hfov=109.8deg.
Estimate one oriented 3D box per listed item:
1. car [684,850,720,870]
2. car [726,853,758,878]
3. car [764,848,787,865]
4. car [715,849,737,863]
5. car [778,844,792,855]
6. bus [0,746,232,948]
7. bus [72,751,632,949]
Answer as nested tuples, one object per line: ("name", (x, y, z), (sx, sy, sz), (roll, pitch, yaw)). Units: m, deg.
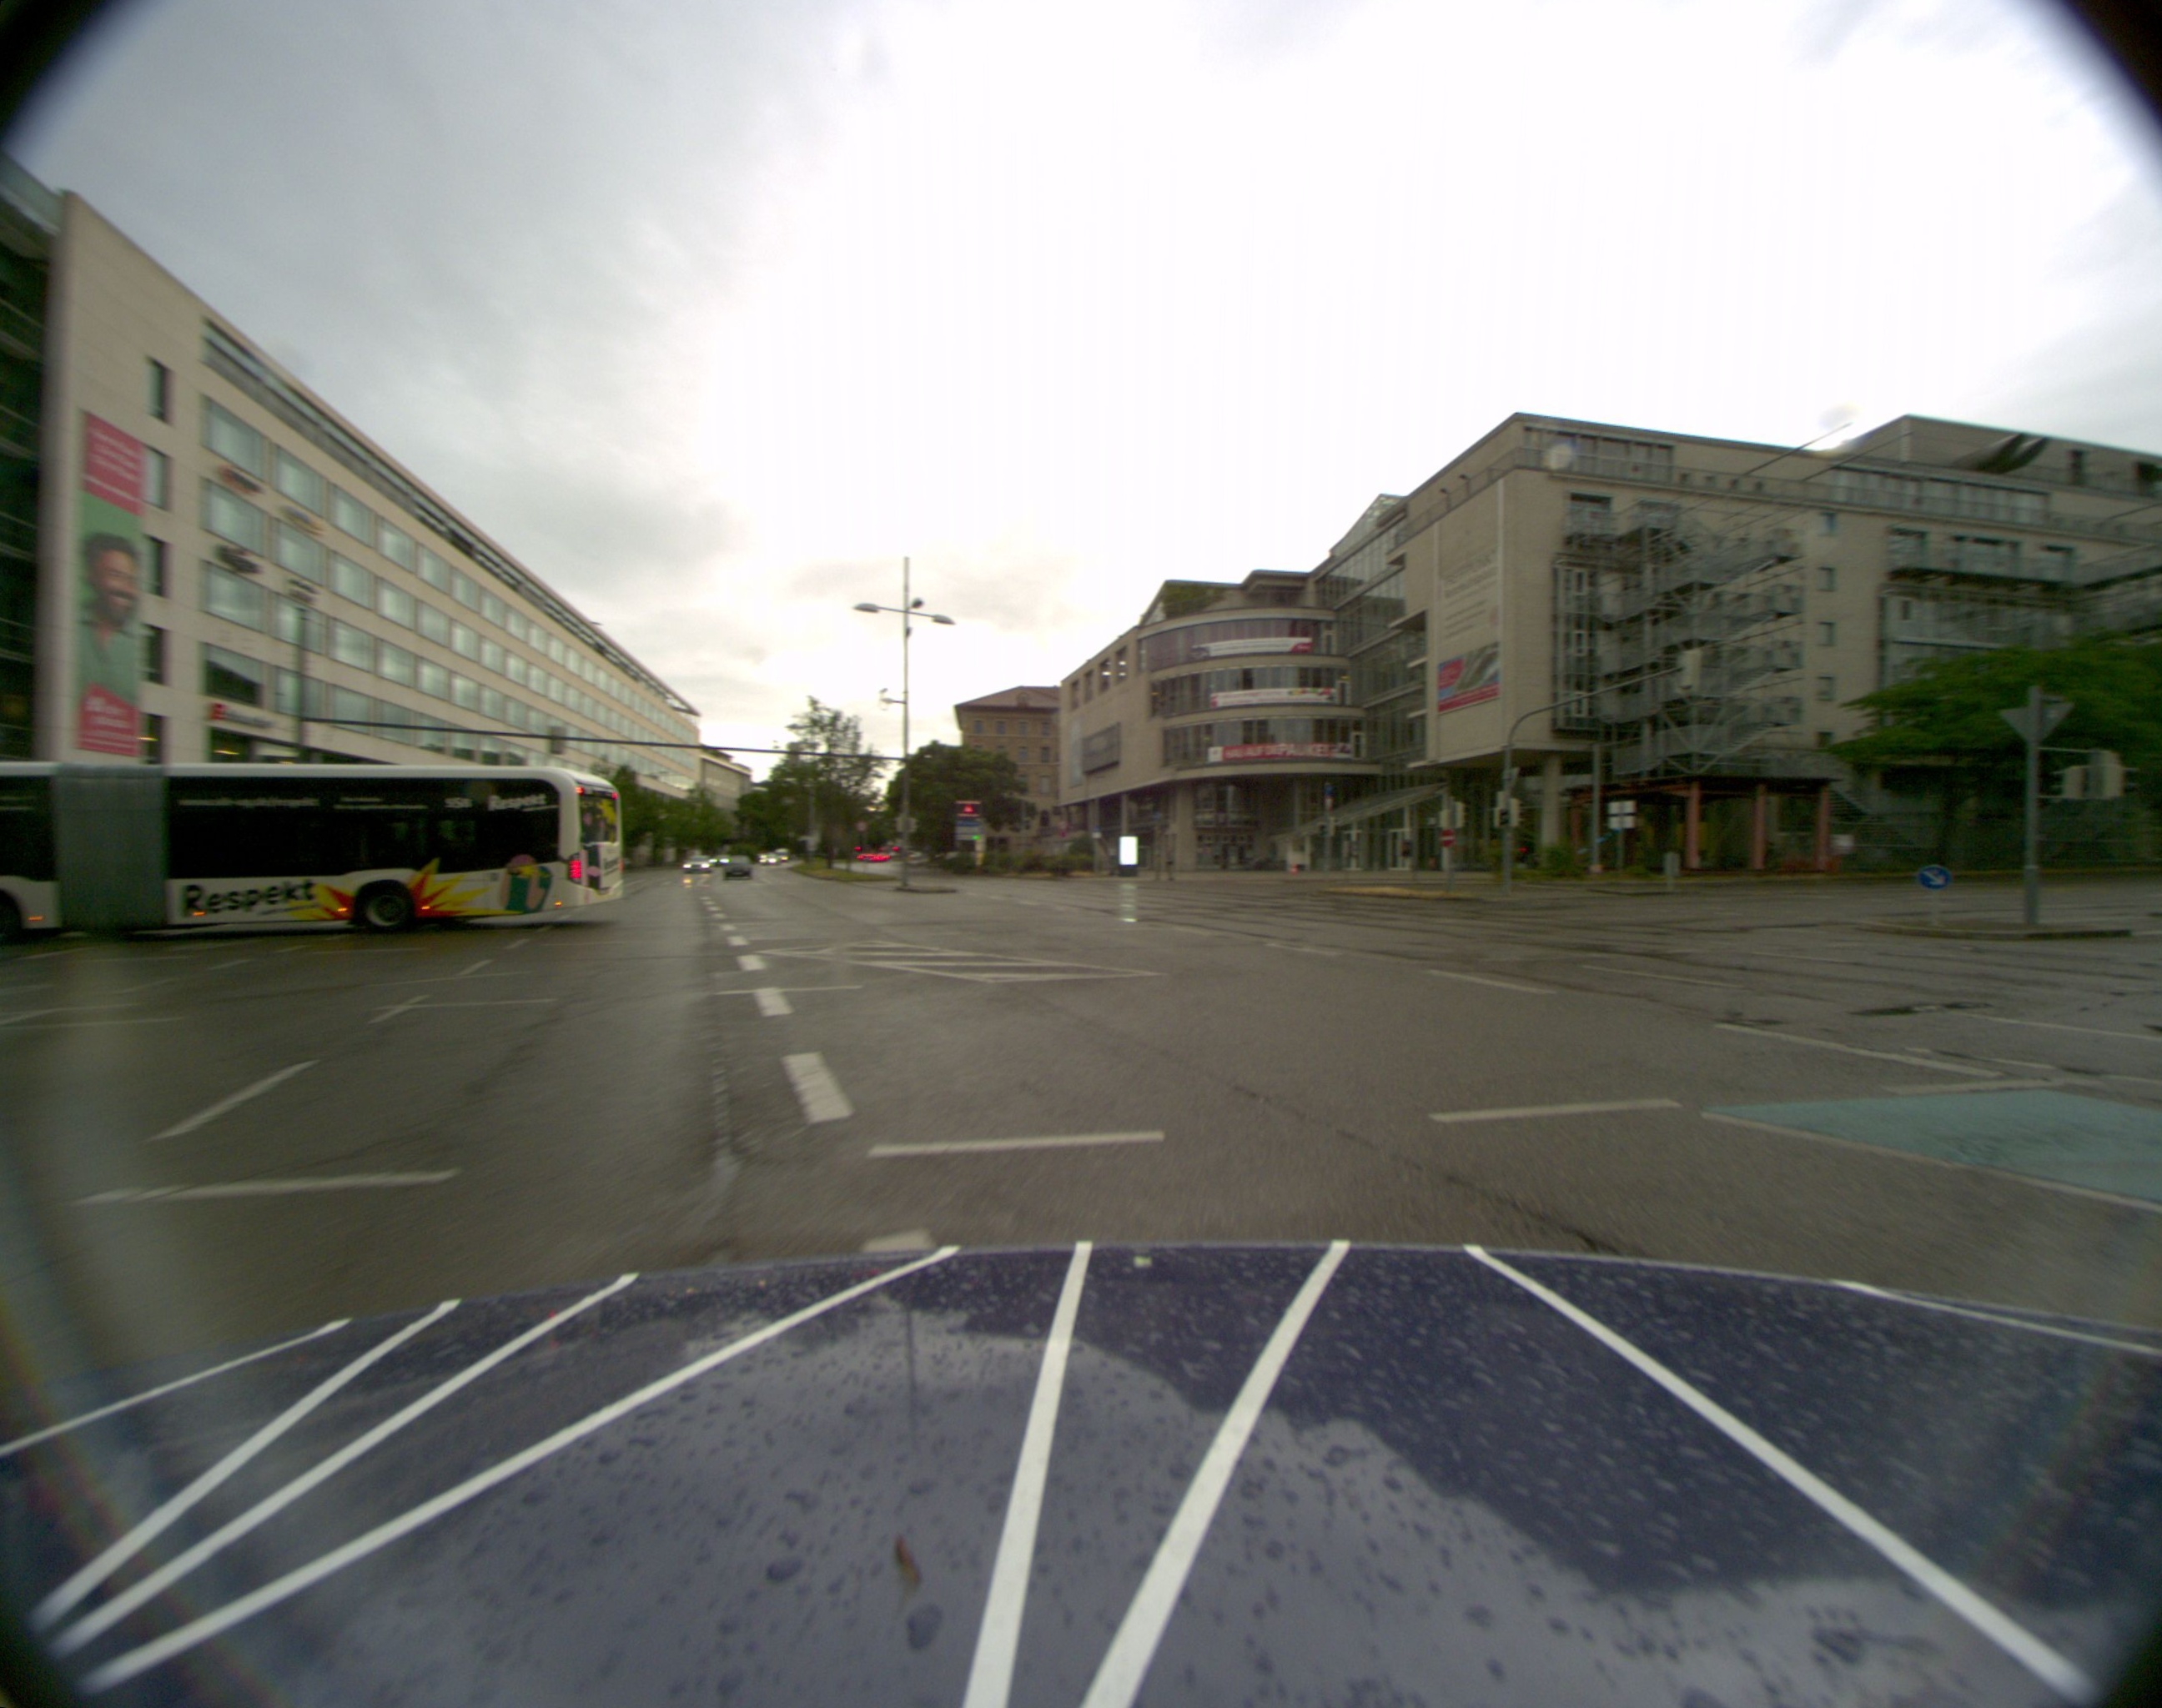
("car", (-30.935, 0.437, 62.073), (1.982, 1.543, 4.662), (-1, 1, -19))
("car", (-21.026, 0.693, 47.191), (1.727, 1.424, 3.992), (-1, 1, -24))
("car", (-40.621, 0.297, 101.211), (1.981, 2.117, 5.099), (-1, 1, -13))
("car", (-43.771, 0.225, 93.792), (1.982, 1.543, 4.662), (-1, 1, -19))
("car", (-56.418, -0.807, 145.030), (2.001, 2.002, 3.995), (-1, 0, -14))
("bus", (-23.066, -0.024, 13.848), (10.326, 3.568, 2.683), (-2, 1, -13))
("bus", (-14.371, -0.188, 15.822), (8.090, 3.568, 2.683), (-2, 1, -12))
